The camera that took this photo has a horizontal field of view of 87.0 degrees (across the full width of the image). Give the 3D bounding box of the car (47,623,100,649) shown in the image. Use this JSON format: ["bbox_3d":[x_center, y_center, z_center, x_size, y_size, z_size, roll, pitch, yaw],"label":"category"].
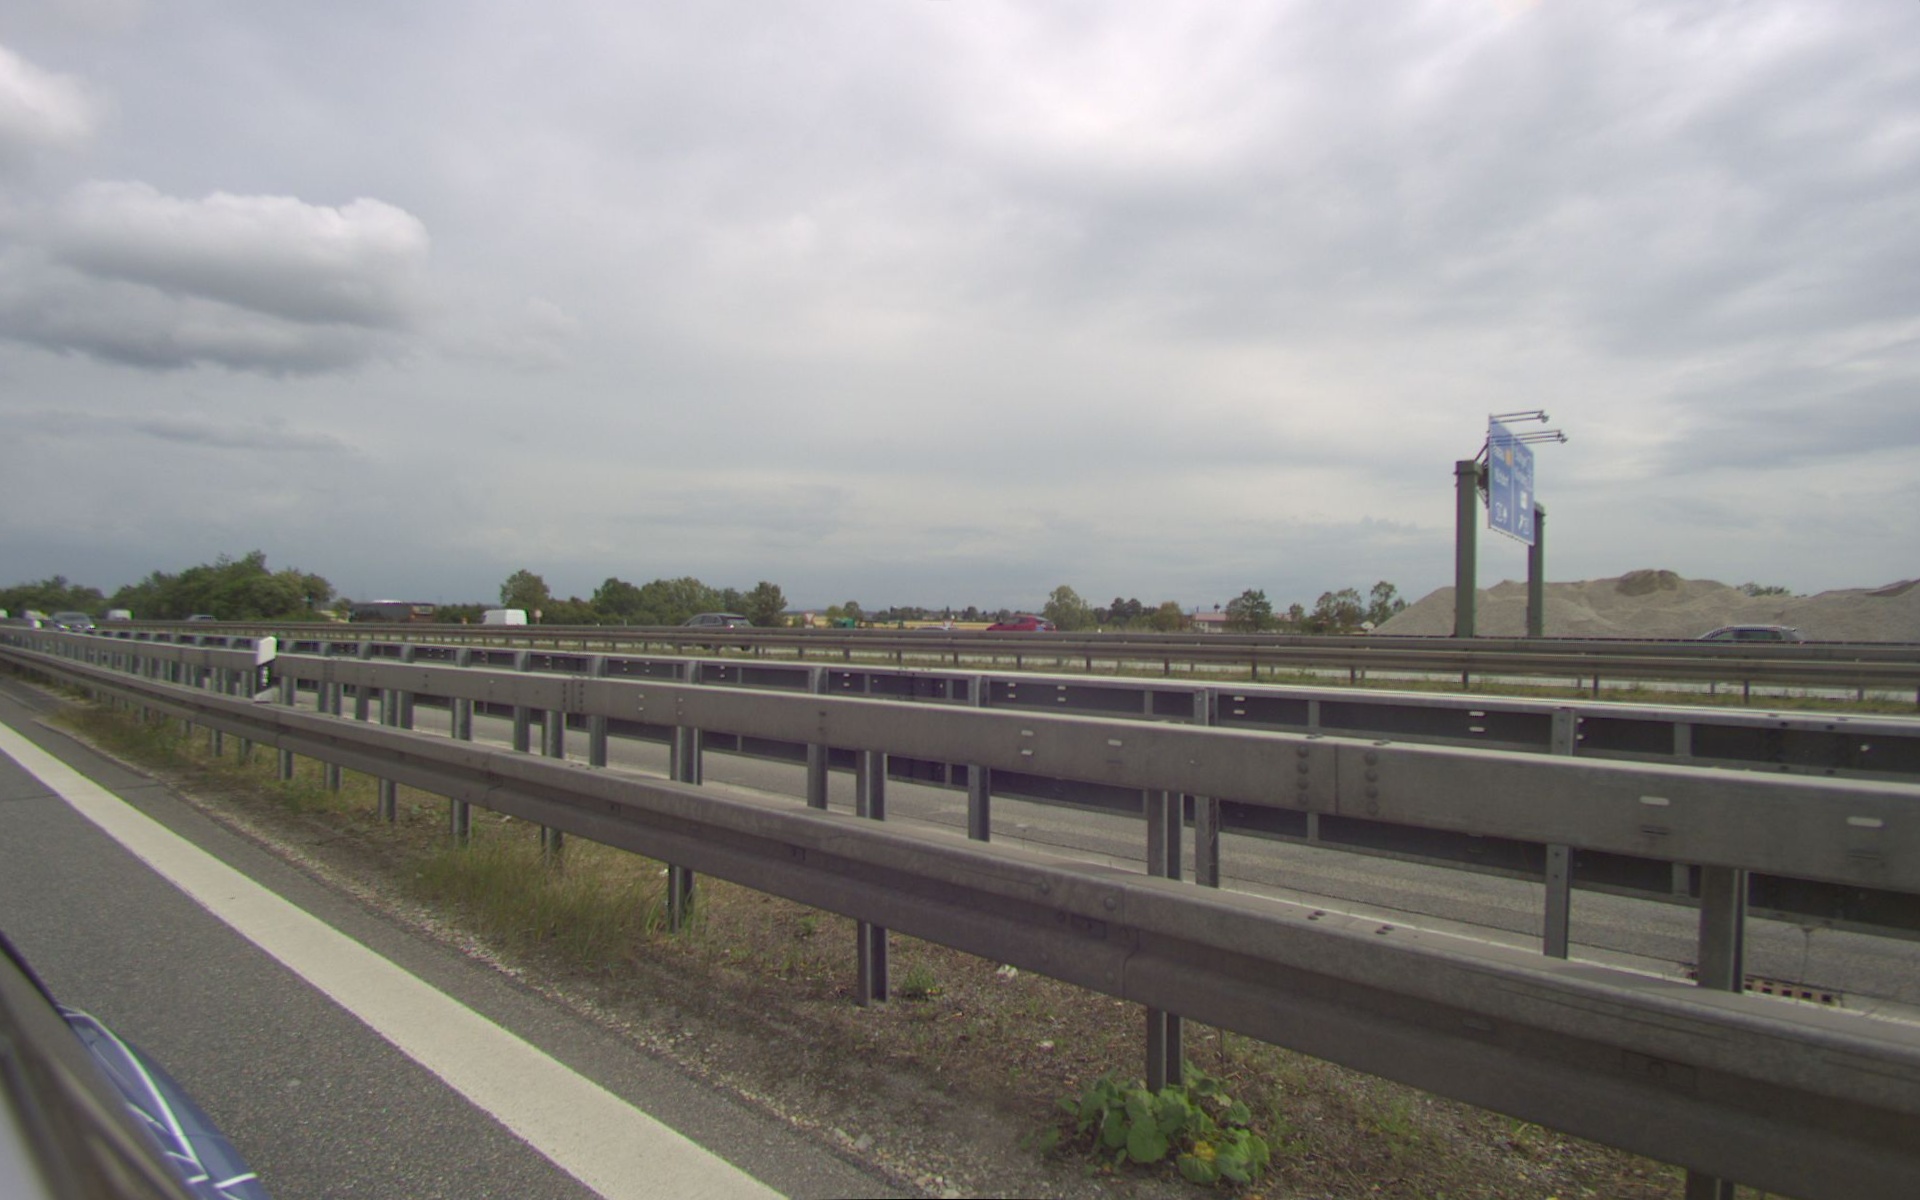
[{"bbox_3d":[-56.951,2.282,64.982,4.610,1.558,1.862,-1,0,39],"label":"car"}]

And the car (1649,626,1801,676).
[{"bbox_3d":[25.626,1.659,34.004,3.995,1.506,1.666,-1,1,39],"label":"car"}]

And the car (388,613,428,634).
[{"bbox_3d":[-53.032,2.253,97.230,3.992,1.874,1.810,-1,0,36],"label":"car"}]

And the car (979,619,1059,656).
[{"bbox_3d":[3.110,1.947,53.787,3.998,1.874,1.779,-1,0,41],"label":"car"}]

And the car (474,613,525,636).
[{"bbox_3d":[-39.289,2.093,86.263,4.745,1.874,2.081,-1,0,39],"label":"car"}]
